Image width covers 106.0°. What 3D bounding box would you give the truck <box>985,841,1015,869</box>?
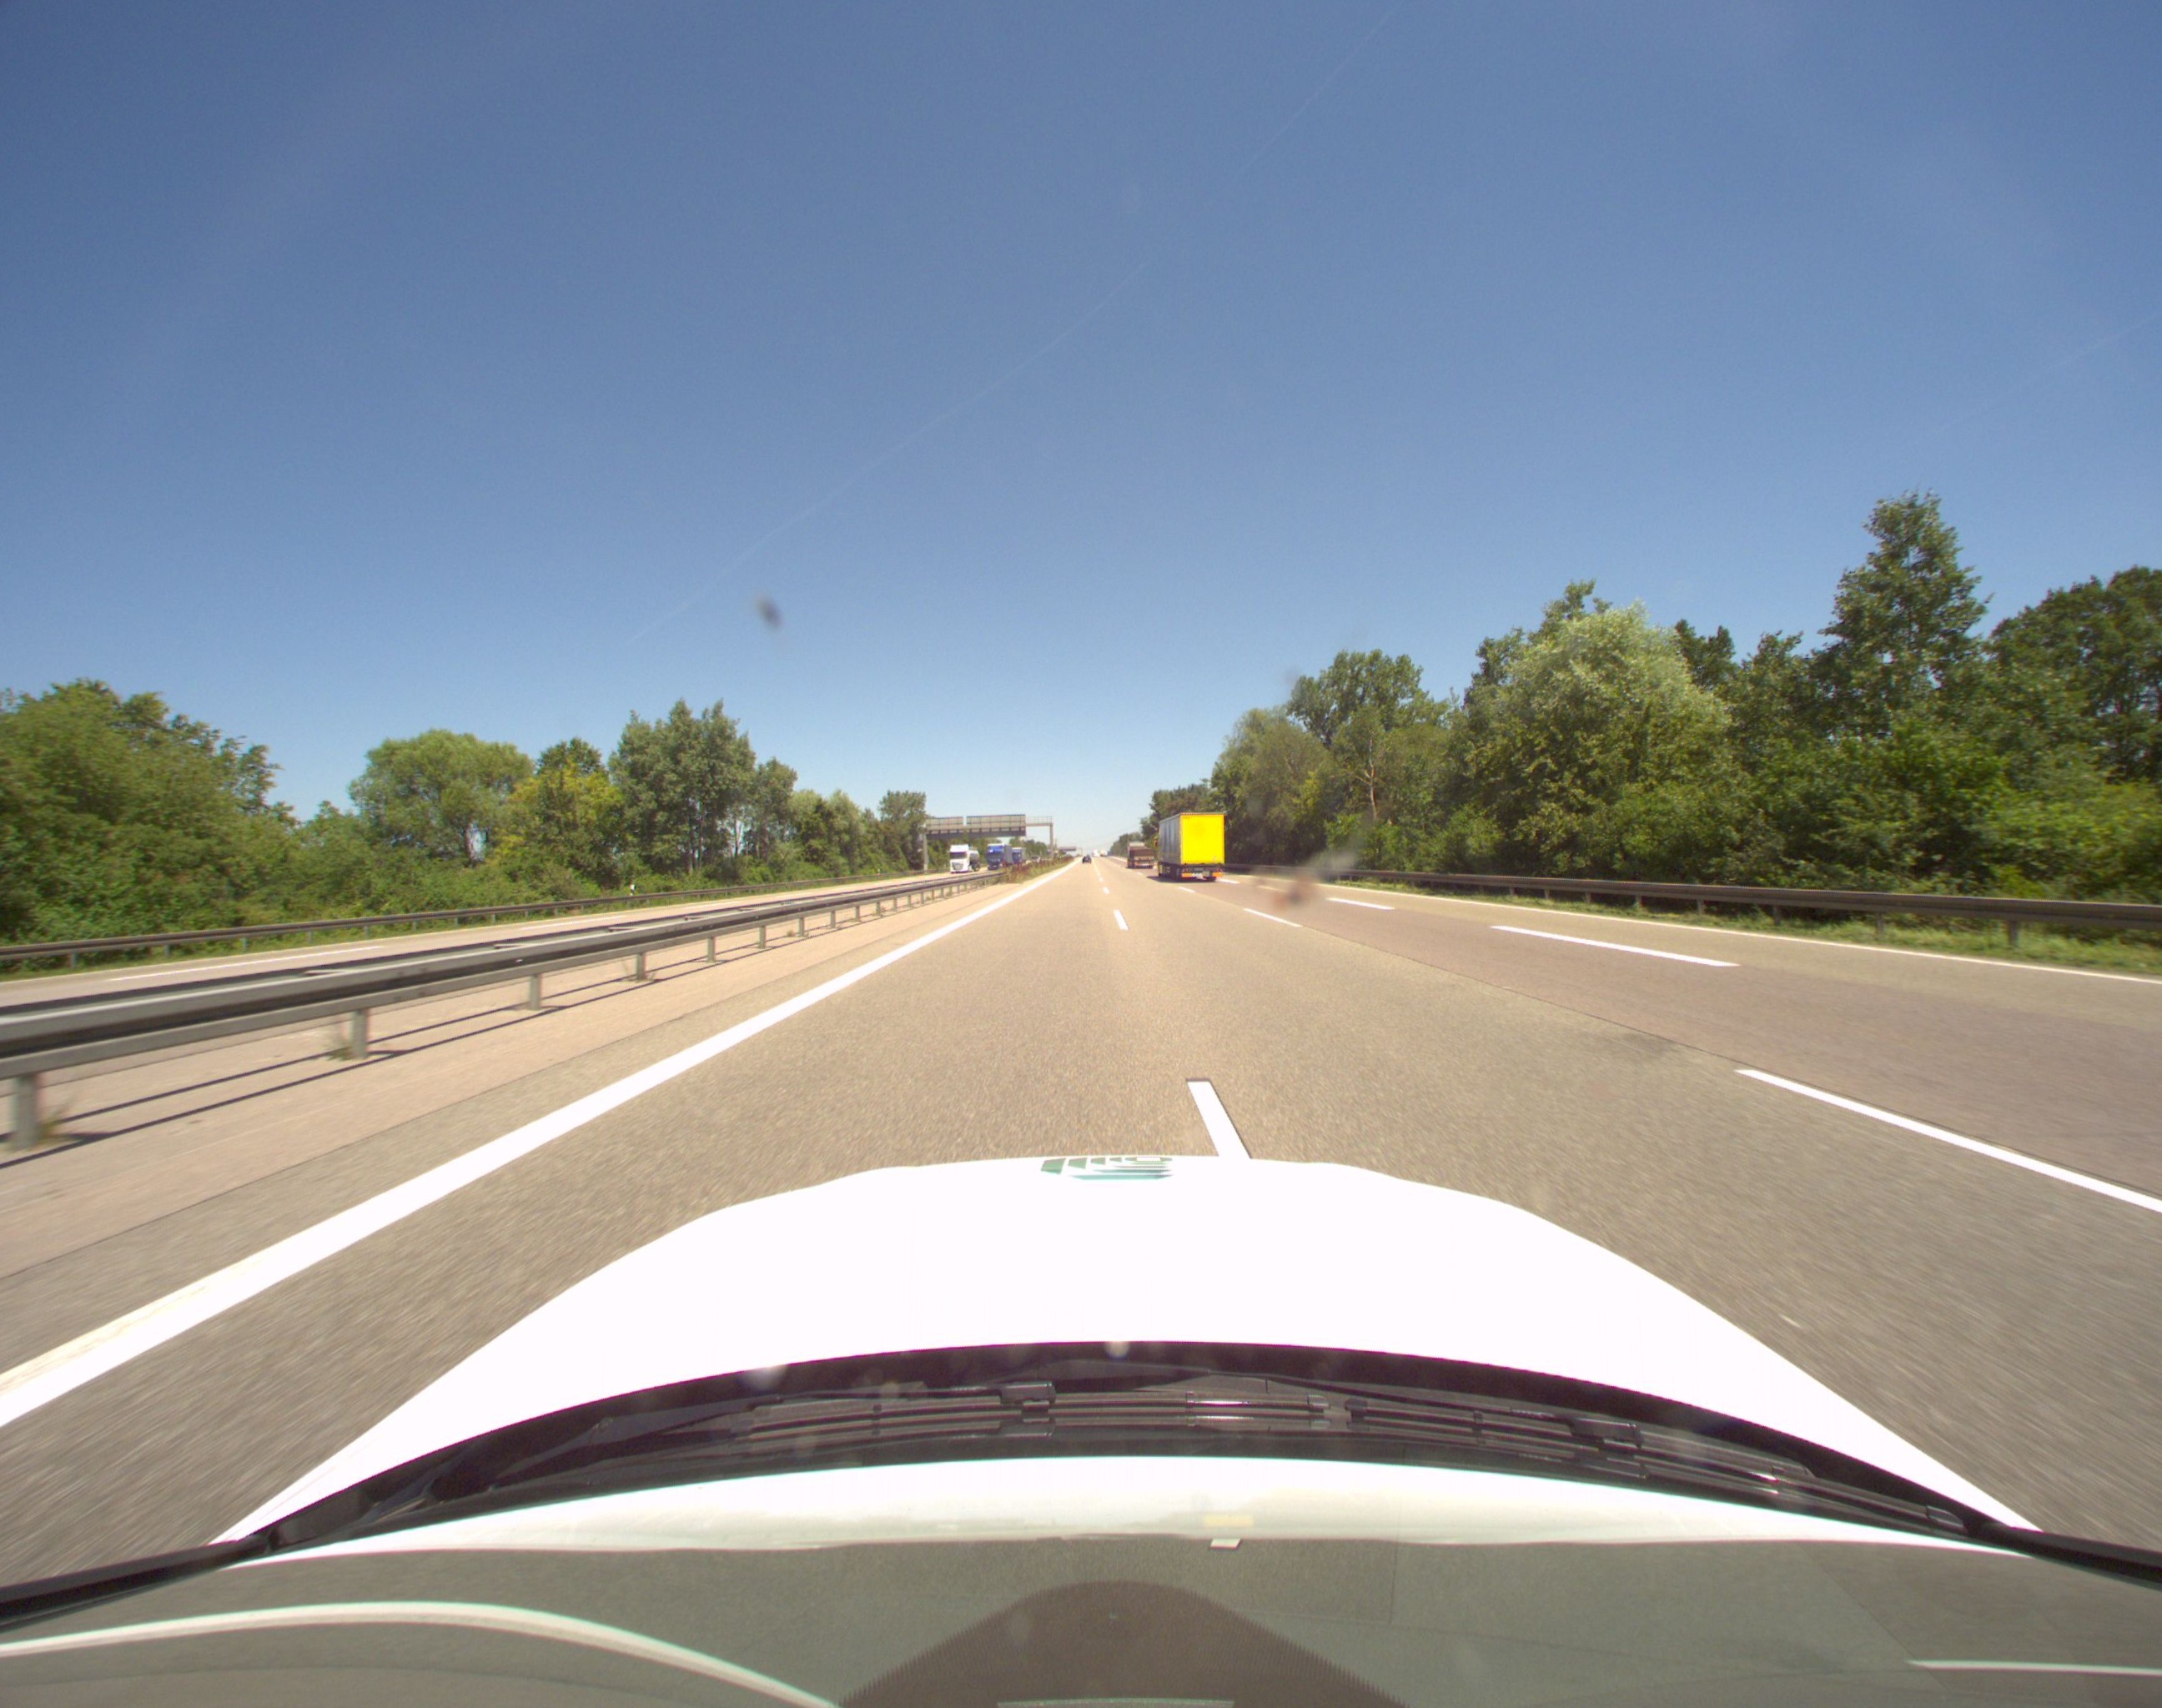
[{"bbox_3d":[-13.226,0.174,134.549,2.945,4.245,17.180,-2,0,0],"label":"truck"}]

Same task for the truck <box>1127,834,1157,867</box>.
[{"bbox_3d":[7.664,-0.352,104.774,2.959,3.957,16.615,-1,-1,1],"label":"truck"}]

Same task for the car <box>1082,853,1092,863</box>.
[{"bbox_3d":[1.221,0.805,162.688,1.785,2.014,3.888,0,-1,1],"label":"car"}]

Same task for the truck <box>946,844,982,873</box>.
[{"bbox_3d":[-17.587,0.592,123.874,2.945,4.018,15.819,-2,0,0],"label":"truck"}]

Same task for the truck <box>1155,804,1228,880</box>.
[{"bbox_3d":[7.095,-0.641,55.101,2.835,4.257,16.793,-2,-1,1],"label":"truck"}]

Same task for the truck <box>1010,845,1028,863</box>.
[{"bbox_3d":[-15.942,-0.078,211.729,2.945,4.342,18.240,-2,0,0],"label":"truck"}]
